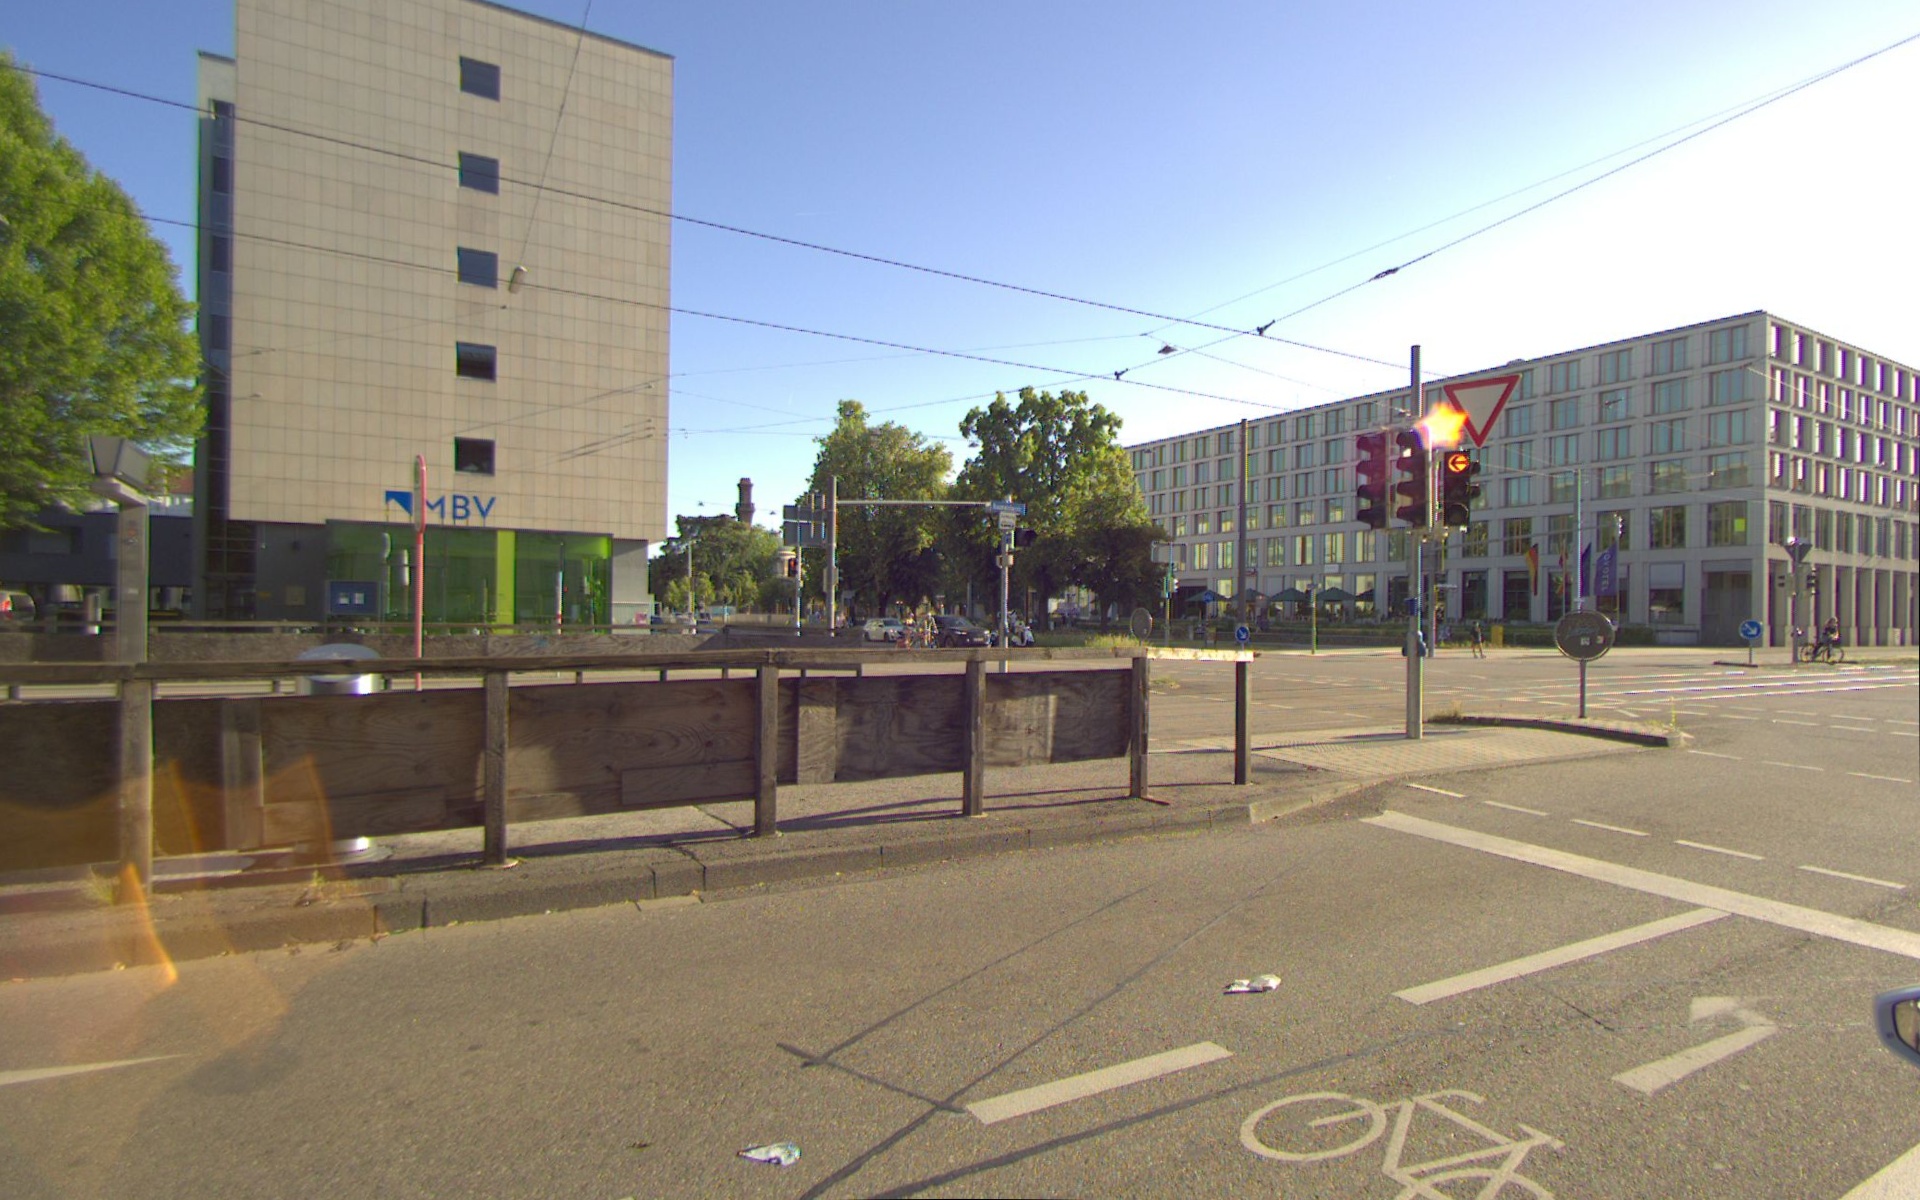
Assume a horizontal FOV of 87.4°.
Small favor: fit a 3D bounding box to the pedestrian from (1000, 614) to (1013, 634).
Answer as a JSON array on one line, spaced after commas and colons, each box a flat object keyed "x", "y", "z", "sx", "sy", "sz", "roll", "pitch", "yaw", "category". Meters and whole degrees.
[{"x": 3.960, "y": 2.043, "z": 85.572, "sx": 0.858, "sy": 1.738, "sz": 0.737, "roll": 2, "pitch": 0, "yaw": -26, "category": "pedestrian"}]

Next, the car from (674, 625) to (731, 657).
[{"x": -13.552, "y": 2.117, "z": 52.705, "sx": 1.975, "sy": 1.472, "sz": 4.179, "roll": 2, "pitch": 0, "yaw": -28, "category": "car"}]

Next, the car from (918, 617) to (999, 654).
[{"x": -0.119, "y": 1.542, "z": 44.460, "sx": 1.925, "sy": 1.561, "sz": 3.969, "roll": 2, "pitch": -2, "yaw": -29, "category": "car"}]

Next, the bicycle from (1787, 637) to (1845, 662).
[{"x": 30.972, "y": 1.788, "z": 36.369, "sx": 0.562, "sy": 0.834, "sz": 1.718, "roll": 1, "pitch": -1, "yaw": -2, "category": "bicycle"}]

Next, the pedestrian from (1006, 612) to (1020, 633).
[{"x": 4.350, "y": 1.875, "z": 82.933, "sx": 0.858, "sy": 1.738, "sz": 0.737, "roll": 2, "pitch": 0, "yaw": -26, "category": "pedestrian"}]

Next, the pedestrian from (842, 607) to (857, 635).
[{"x": -8.155, "y": 1.562, "z": 74.130, "sx": 0.772, "sy": 2.040, "sz": 0.747, "roll": 1, "pitch": -1, "yaw": -31, "category": "pedestrian"}]

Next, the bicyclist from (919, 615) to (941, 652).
[{"x": -1.276, "y": 1.415, "z": 42.409, "sx": 0.576, "sy": 1.563, "sz": 0.890, "roll": 1, "pitch": -1, "yaw": -27, "category": "bicyclist"}]

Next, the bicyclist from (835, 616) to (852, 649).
[{"x": -5.886, "y": 1.634, "z": 50.620, "sx": 0.576, "sy": 1.658, "sz": 0.890, "roll": 1, "pitch": -1, "yaw": -27, "category": "bicyclist"}]

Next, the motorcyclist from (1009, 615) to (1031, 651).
[{"x": 2.805, "y": 1.542, "z": 46.979, "sx": 0.624, "sy": 1.601, "sz": 0.812, "roll": -3, "pitch": 1, "yaw": -28, "category": "motorcyclist"}]

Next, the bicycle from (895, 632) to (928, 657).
[{"x": -2.040, "y": 1.849, "z": 42.012, "sx": 0.577, "sy": 1.032, "sz": 1.806, "roll": 1, "pitch": -3, "yaw": -31, "category": "bicycle"}]

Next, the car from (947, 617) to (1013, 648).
[{"x": 1.017, "y": 1.661, "z": 52.199, "sx": 1.674, "sy": 1.506, "sz": 3.719, "roll": 1, "pitch": -1, "yaw": -33, "category": "car"}]

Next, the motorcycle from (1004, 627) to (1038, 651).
[{"x": 2.845, "y": 1.823, "z": 46.948, "sx": 0.624, "sy": 1.030, "sz": 1.972, "roll": -3, "pitch": 1, "yaw": -28, "category": "motorcycle"}]

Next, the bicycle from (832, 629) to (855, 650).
[{"x": -5.880, "y": 1.988, "z": 50.606, "sx": 0.576, "sy": 1.032, "sz": 1.666, "roll": 1, "pitch": -1, "yaw": -27, "category": "bicycle"}]

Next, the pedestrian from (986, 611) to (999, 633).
[{"x": 2.696, "y": 1.828, "z": 83.716, "sx": 0.858, "sy": 1.738, "sz": 0.737, "roll": 2, "pitch": 0, "yaw": -26, "category": "pedestrian"}]

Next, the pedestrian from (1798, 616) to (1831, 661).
[{"x": 30.980, "y": 1.394, "z": 36.412, "sx": 0.562, "sy": 1.616, "sz": 0.744, "roll": 1, "pitch": -1, "yaw": -3, "category": "pedestrian"}]

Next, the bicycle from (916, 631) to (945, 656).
[{"x": -1.269, "y": 1.830, "z": 42.373, "sx": 0.576, "sy": 1.032, "sz": 1.666, "roll": 1, "pitch": -1, "yaw": -27, "category": "bicycle"}]

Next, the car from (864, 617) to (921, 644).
[{"x": -4.074, "y": 1.802, "z": 60.254, "sx": 1.975, "sy": 1.537, "sz": 3.971, "roll": 1, "pitch": -1, "yaw": -28, "category": "car"}]

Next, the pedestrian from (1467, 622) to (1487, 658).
[{"x": 25.052, "y": 1.923, "z": 48.676, "sx": 0.597, "sy": 1.703, "sz": 0.602, "roll": 1, "pitch": -1, "yaw": -22, "category": "pedestrian"}]

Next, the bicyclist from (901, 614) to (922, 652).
[{"x": -2.035, "y": 1.370, "z": 42.009, "sx": 0.577, "sy": 1.563, "sz": 0.833, "roll": 1, "pitch": -2, "yaw": -32, "category": "bicyclist"}]

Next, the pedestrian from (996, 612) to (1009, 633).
[{"x": 3.547, "y": 1.856, "z": 84.049, "sx": 0.858, "sy": 1.738, "sz": 0.737, "roll": 2, "pitch": 0, "yaw": -26, "category": "pedestrian"}]

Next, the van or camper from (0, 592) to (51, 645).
[{"x": -27.891, "y": 0.431, "z": 27.559, "sx": 3.954, "sy": 1.425, "sz": 1.954, "roll": 4, "pitch": -3, "yaw": -30, "category": "van or camper"}]
